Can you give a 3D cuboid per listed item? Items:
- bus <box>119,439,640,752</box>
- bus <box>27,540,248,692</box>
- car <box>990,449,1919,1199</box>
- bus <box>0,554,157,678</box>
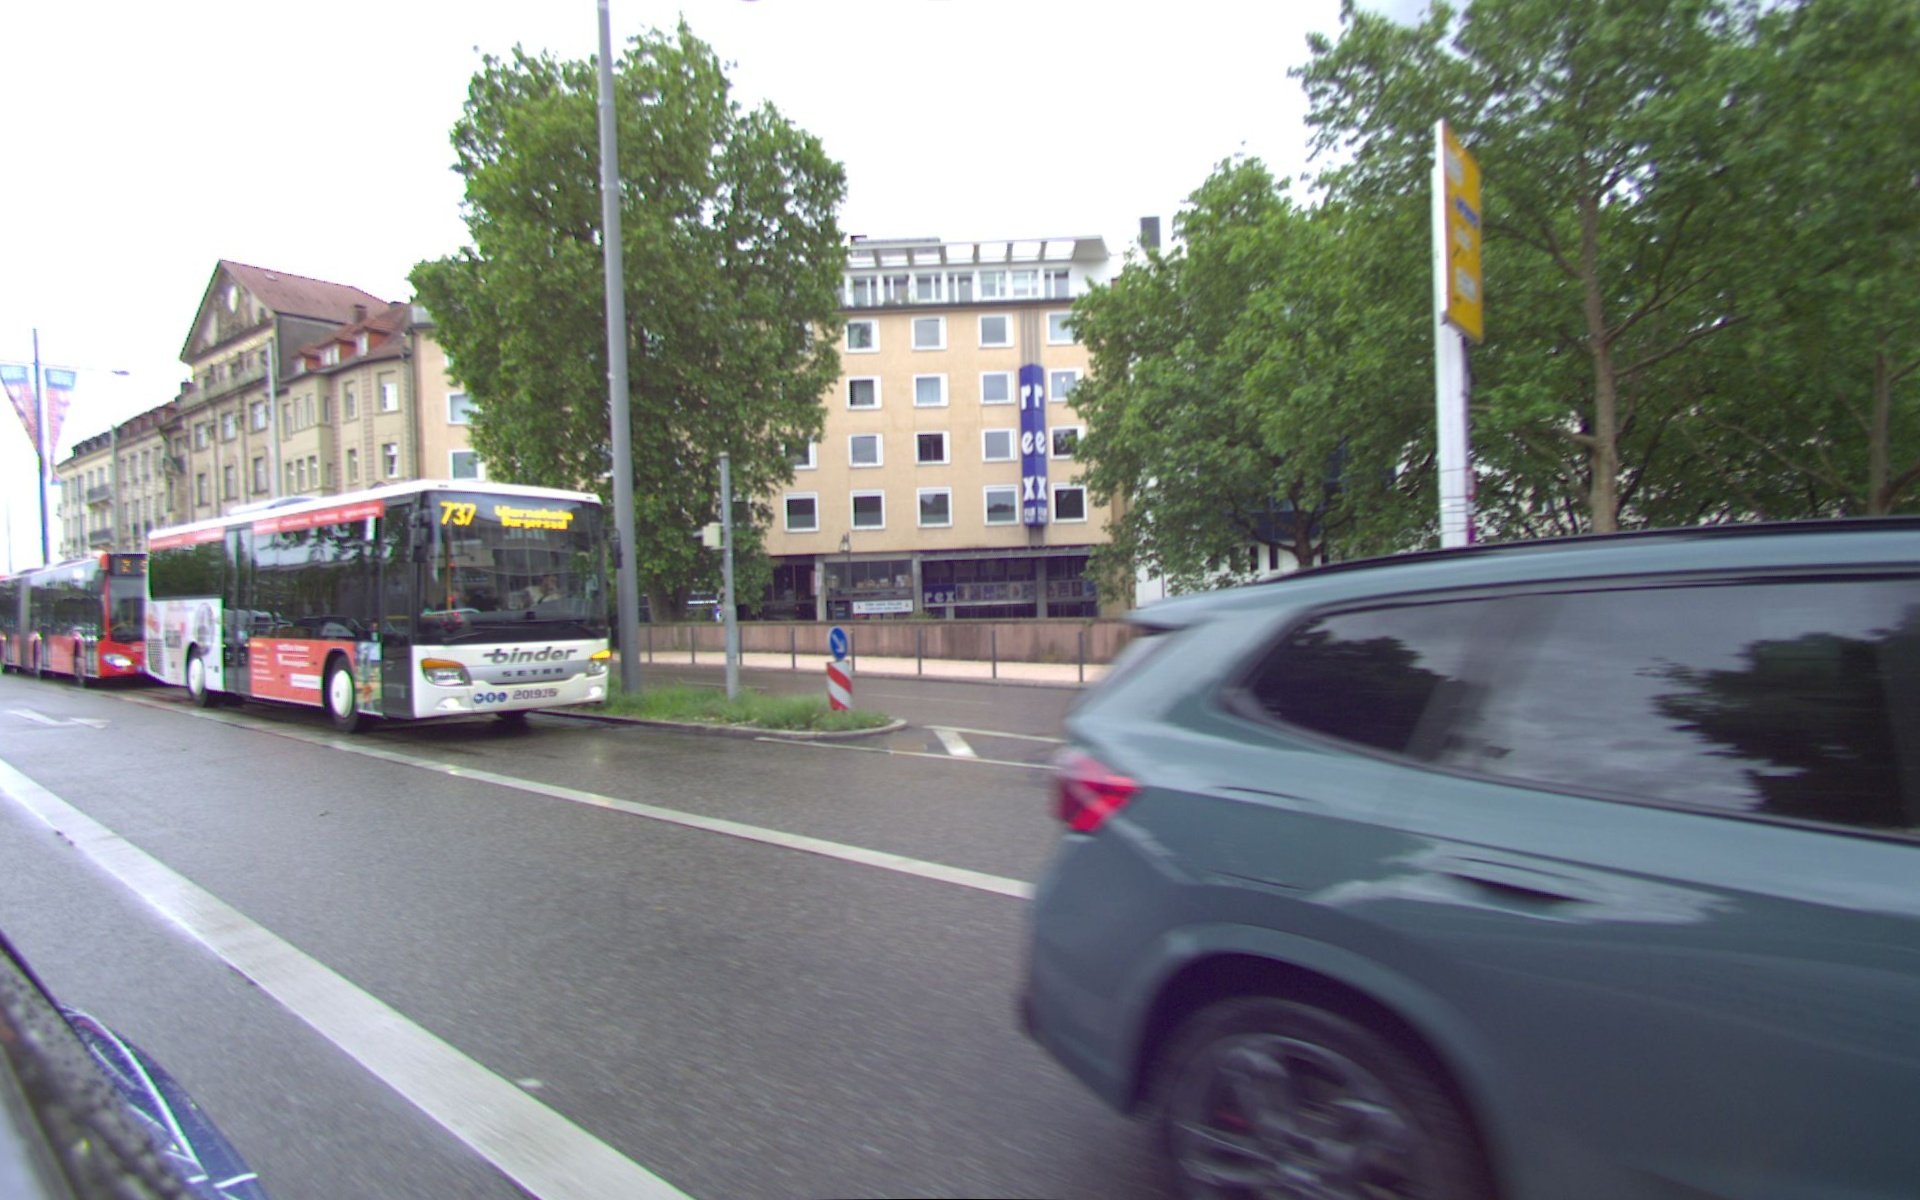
[{"bbox_3d":[-10.068,0.069,16.286,12.544,3.465,2.926,-2,-1,39],"label":"bus"},{"bbox_3d":[-20.503,0.431,24.982,8.837,3.156,2.724,-1,-2,41],"label":"bus"},{"bbox_3d":[2.376,0.606,1.798,4.353,1.652,1.945,-1,-1,39],"label":"car"},{"bbox_3d":[-27.613,0.538,30.961,9.903,3.270,2.782,-1,-2,39],"label":"bus"}]
